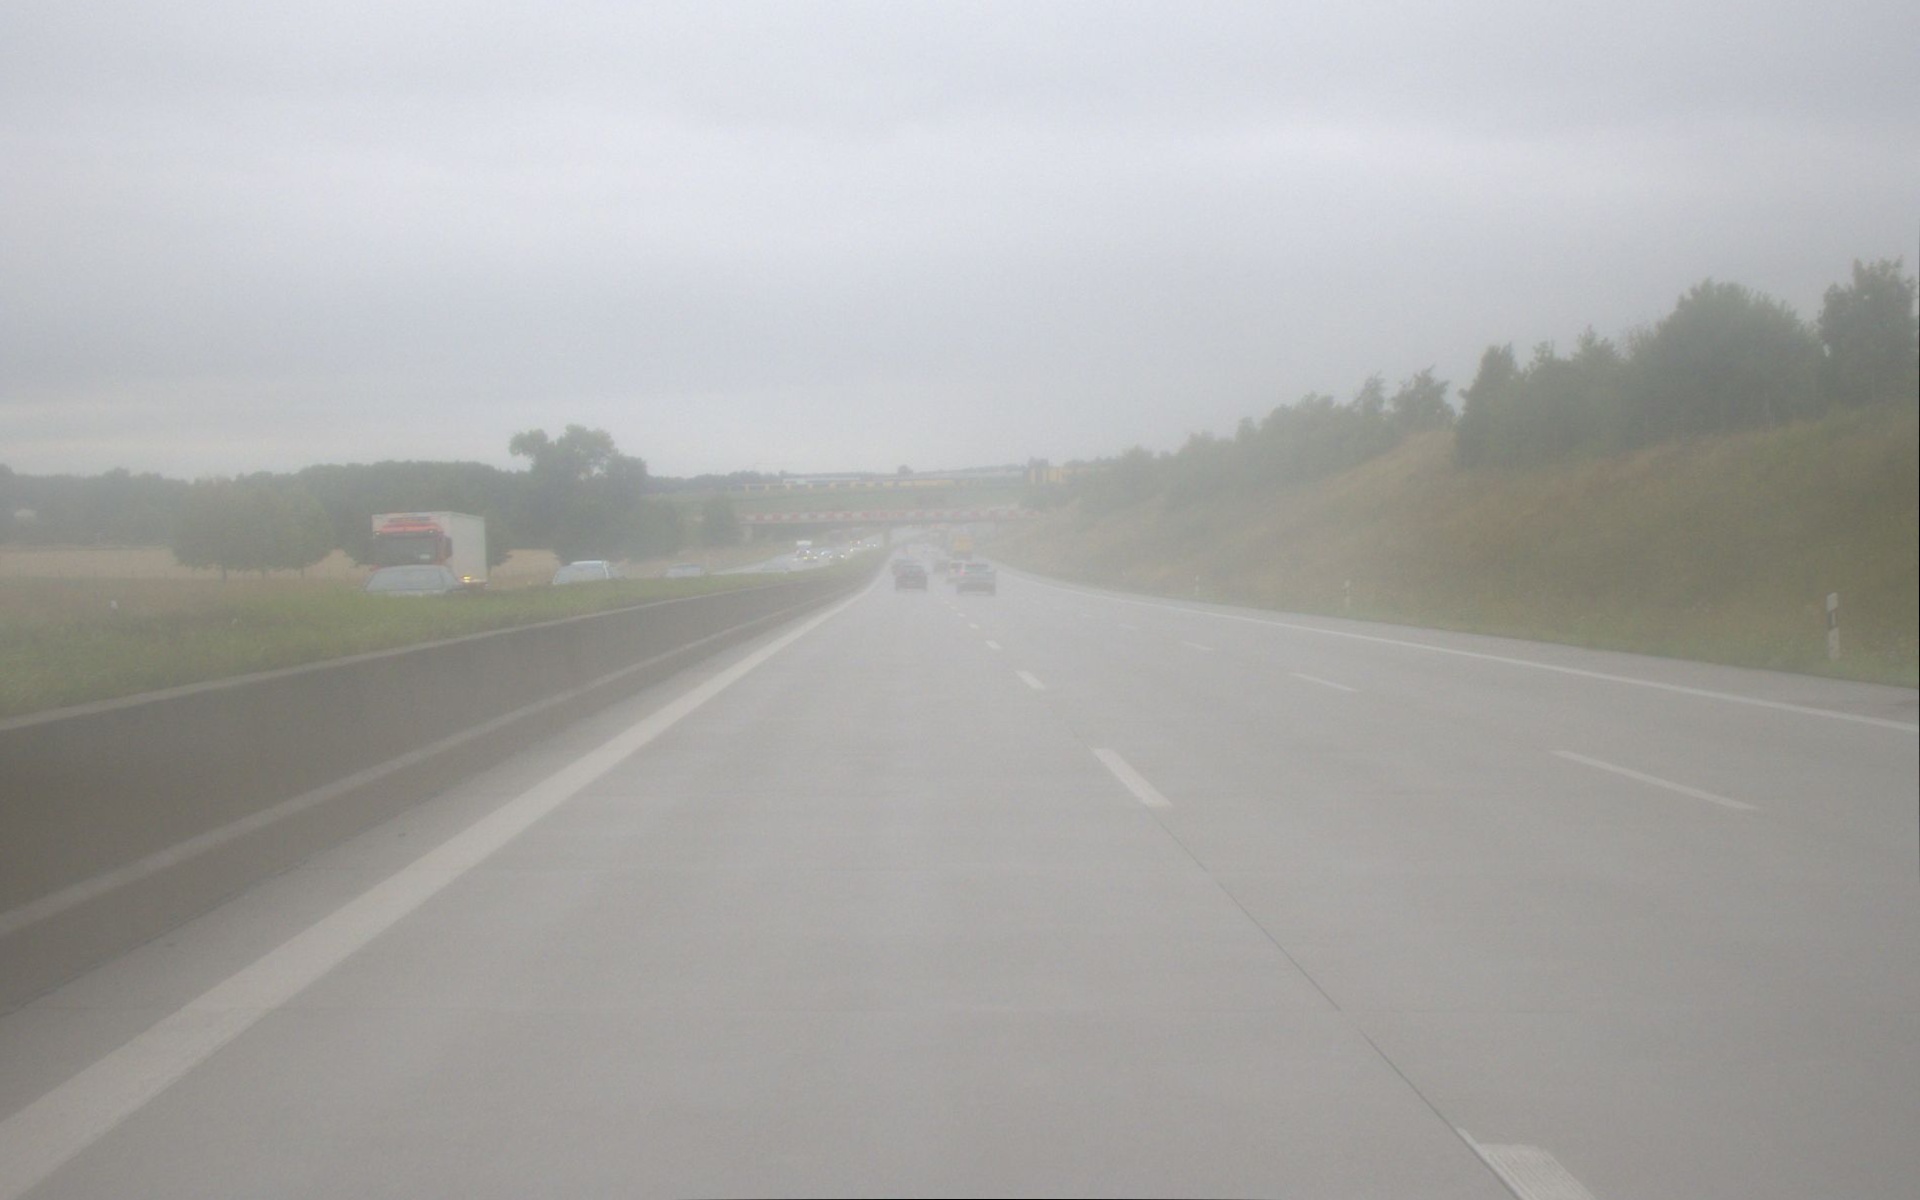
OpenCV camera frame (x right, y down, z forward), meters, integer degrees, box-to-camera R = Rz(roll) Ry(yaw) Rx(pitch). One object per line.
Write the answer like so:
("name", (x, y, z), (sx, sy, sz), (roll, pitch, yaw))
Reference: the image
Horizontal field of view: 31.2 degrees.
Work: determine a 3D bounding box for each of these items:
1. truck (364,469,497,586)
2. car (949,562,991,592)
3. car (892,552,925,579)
("truck", (-18.491, -2.596, 120.847), (2.903, 3.842, 12.452), (-1, 2, -1))
("car", (0.465, -1.151, 167.960), (1.847, 1.326, 4.430), (0, 2, -2))
("car", (-2.769, -1.889, 185.584), (1.729, 1.326, 4.430), (0, 2, 0))
